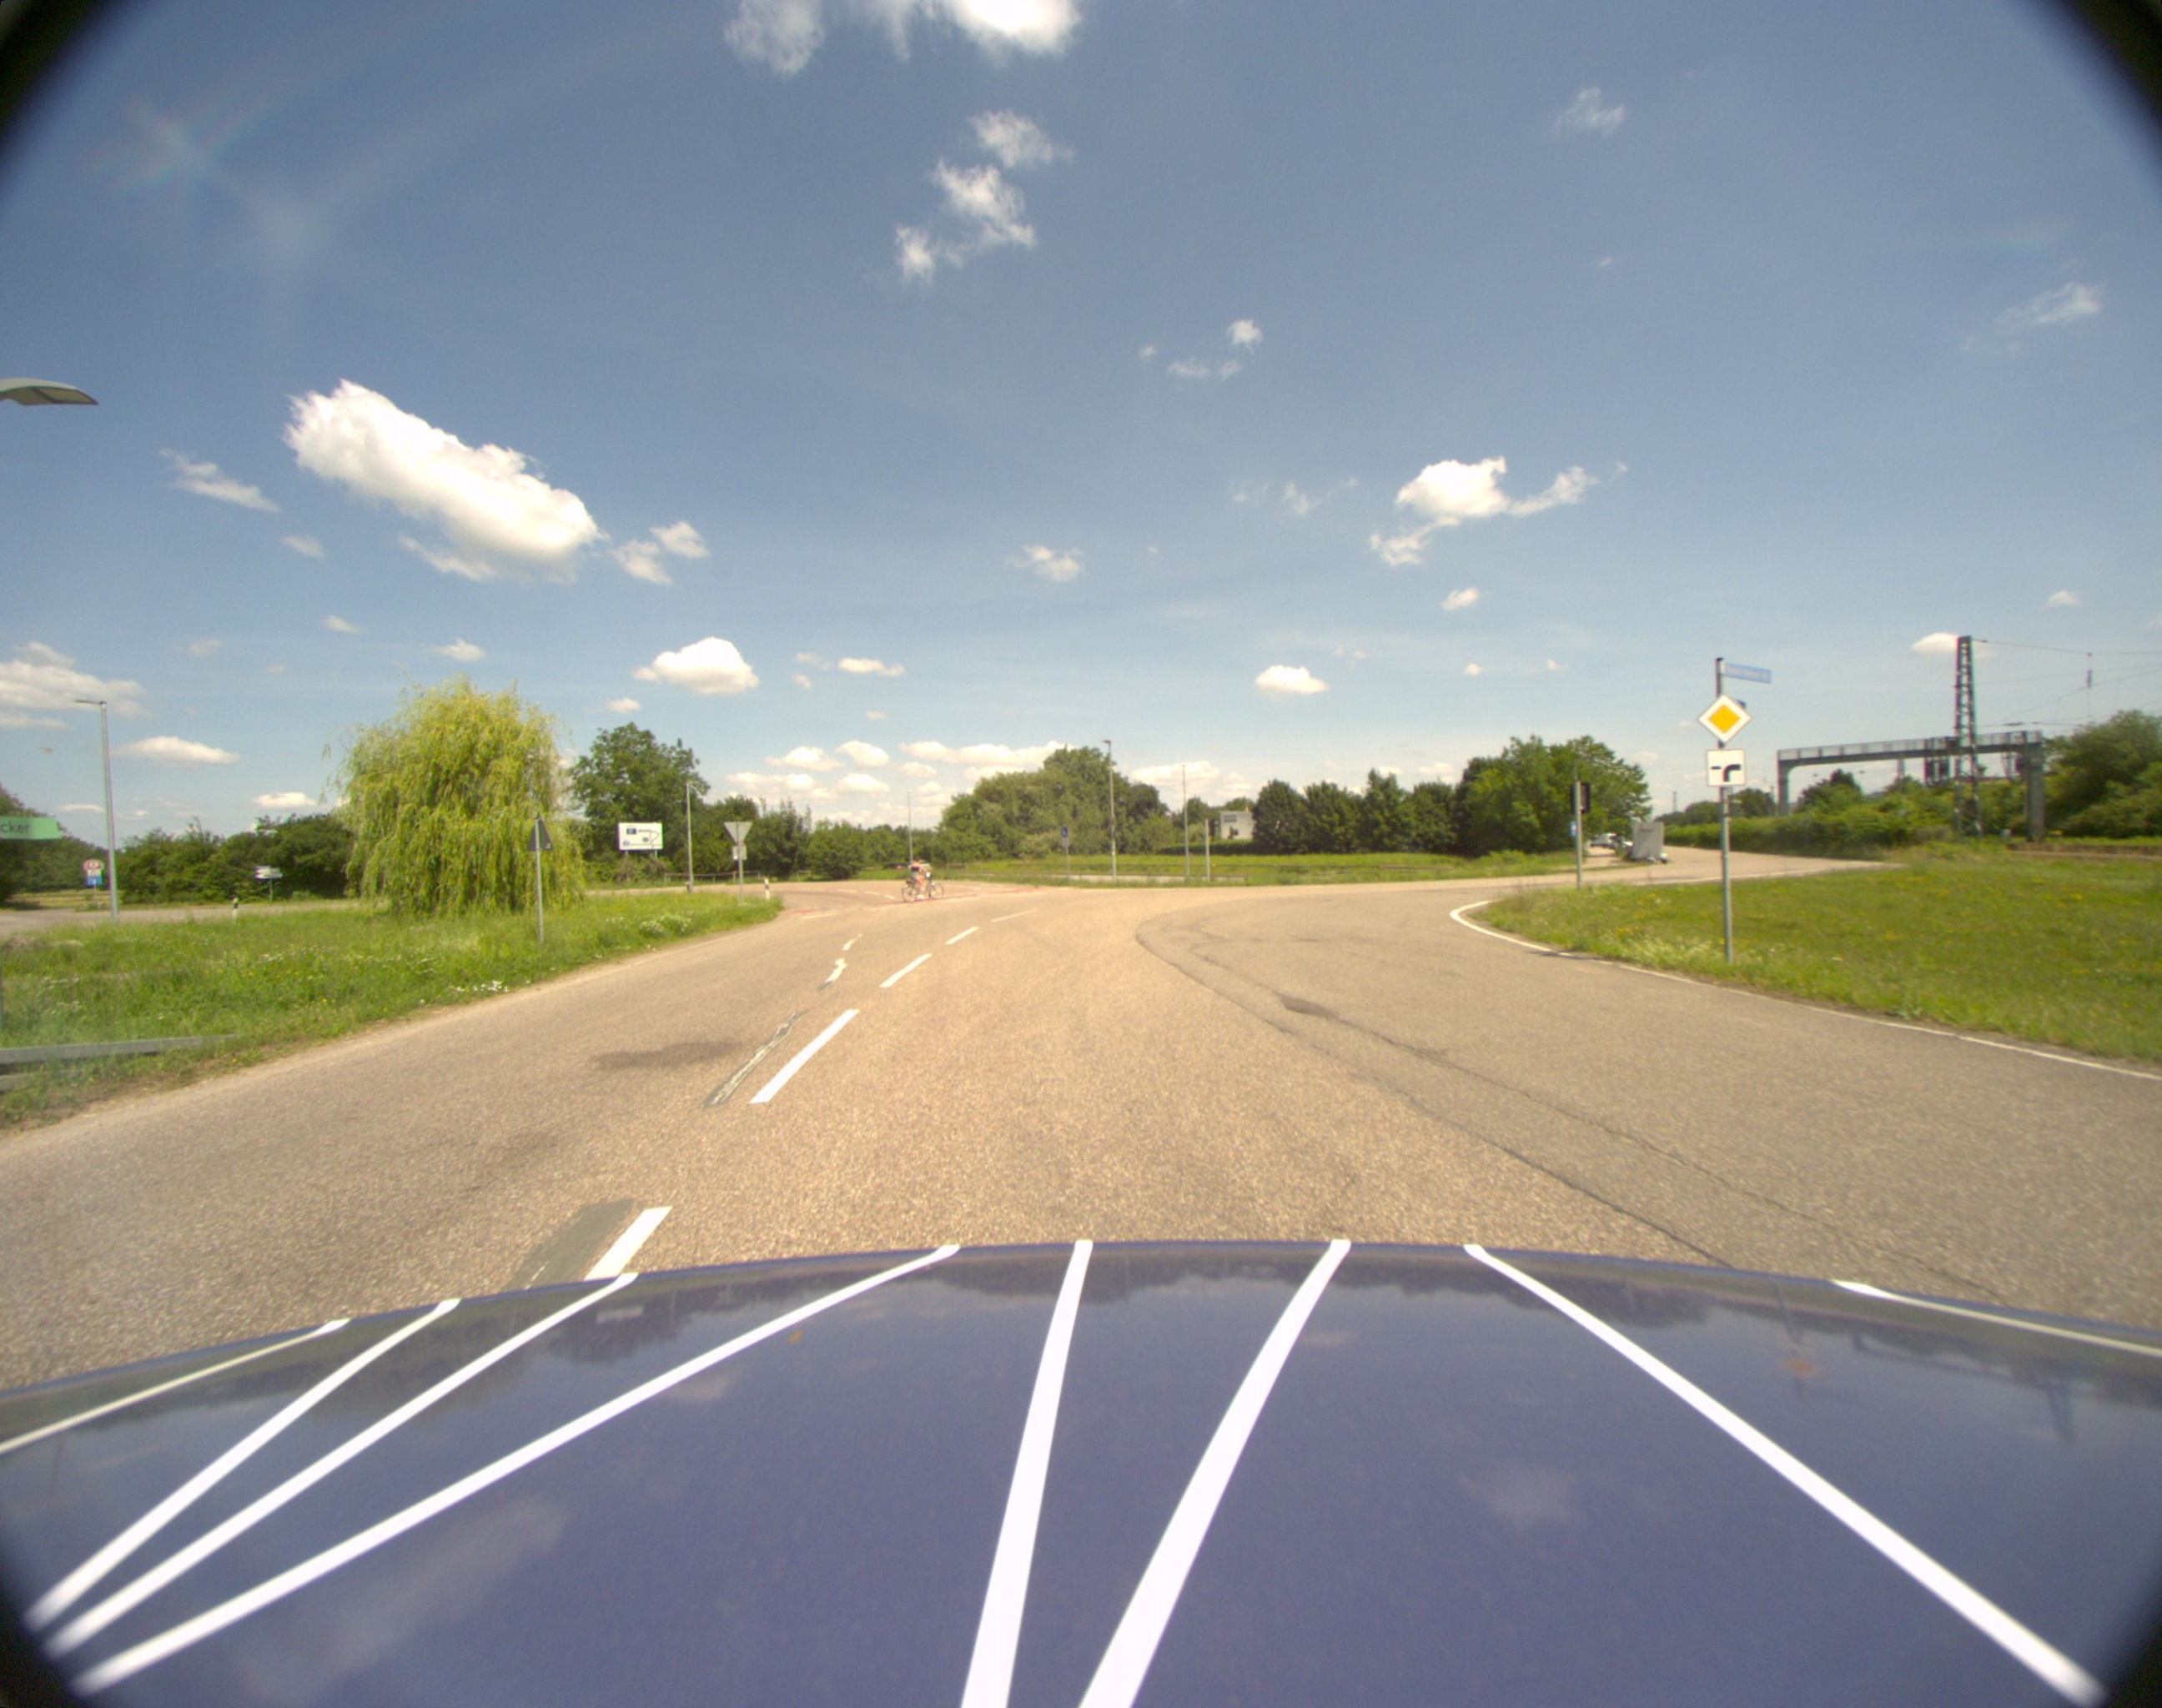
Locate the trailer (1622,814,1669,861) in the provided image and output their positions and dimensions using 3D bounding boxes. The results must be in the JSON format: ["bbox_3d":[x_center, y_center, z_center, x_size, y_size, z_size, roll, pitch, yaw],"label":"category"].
[{"bbox_3d":[33.843,-1.010,45.496,1.933,2.629,5.193,2,3,40],"label":"trailer"}]

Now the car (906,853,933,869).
[{"bbox_3d":[-17.984,0.788,84.776,1.421,1.496,3.110,-4,0,-44],"label":"car"}]

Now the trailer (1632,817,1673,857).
[{"bbox_3d":[37.991,-1.164,50.616,1.919,2.494,4.749,2,3,34],"label":"trailer"}]

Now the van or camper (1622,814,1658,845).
[{"bbox_3d":[52.360,-2.289,71.290,2.440,2.811,7.637,0,2,34],"label":"van or camper"}]

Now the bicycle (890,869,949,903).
[{"bbox_3d":[-6.430,1.273,30.297,2.149,1.158,0.660,-4,2,-28],"label":"bicycle"}]

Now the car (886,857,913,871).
[{"bbox_3d":[-19.757,1.130,82.596,1.421,1.330,3.110,-4,0,-43],"label":"car"}]

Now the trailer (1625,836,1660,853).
[{"bbox_3d":[41.543,-0.742,56.196,2.005,1.117,4.497,2,3,37],"label":"trailer"}]

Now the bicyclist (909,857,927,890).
[{"bbox_3d":[-6.498,0.781,30.255,0.512,1.248,0.468,-5,2,-28],"label":"bicyclist"}]

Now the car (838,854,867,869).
[{"bbox_3d":[-23.768,0.782,78.845,3.110,1.330,1.421,-4,0,43],"label":"car"}]
